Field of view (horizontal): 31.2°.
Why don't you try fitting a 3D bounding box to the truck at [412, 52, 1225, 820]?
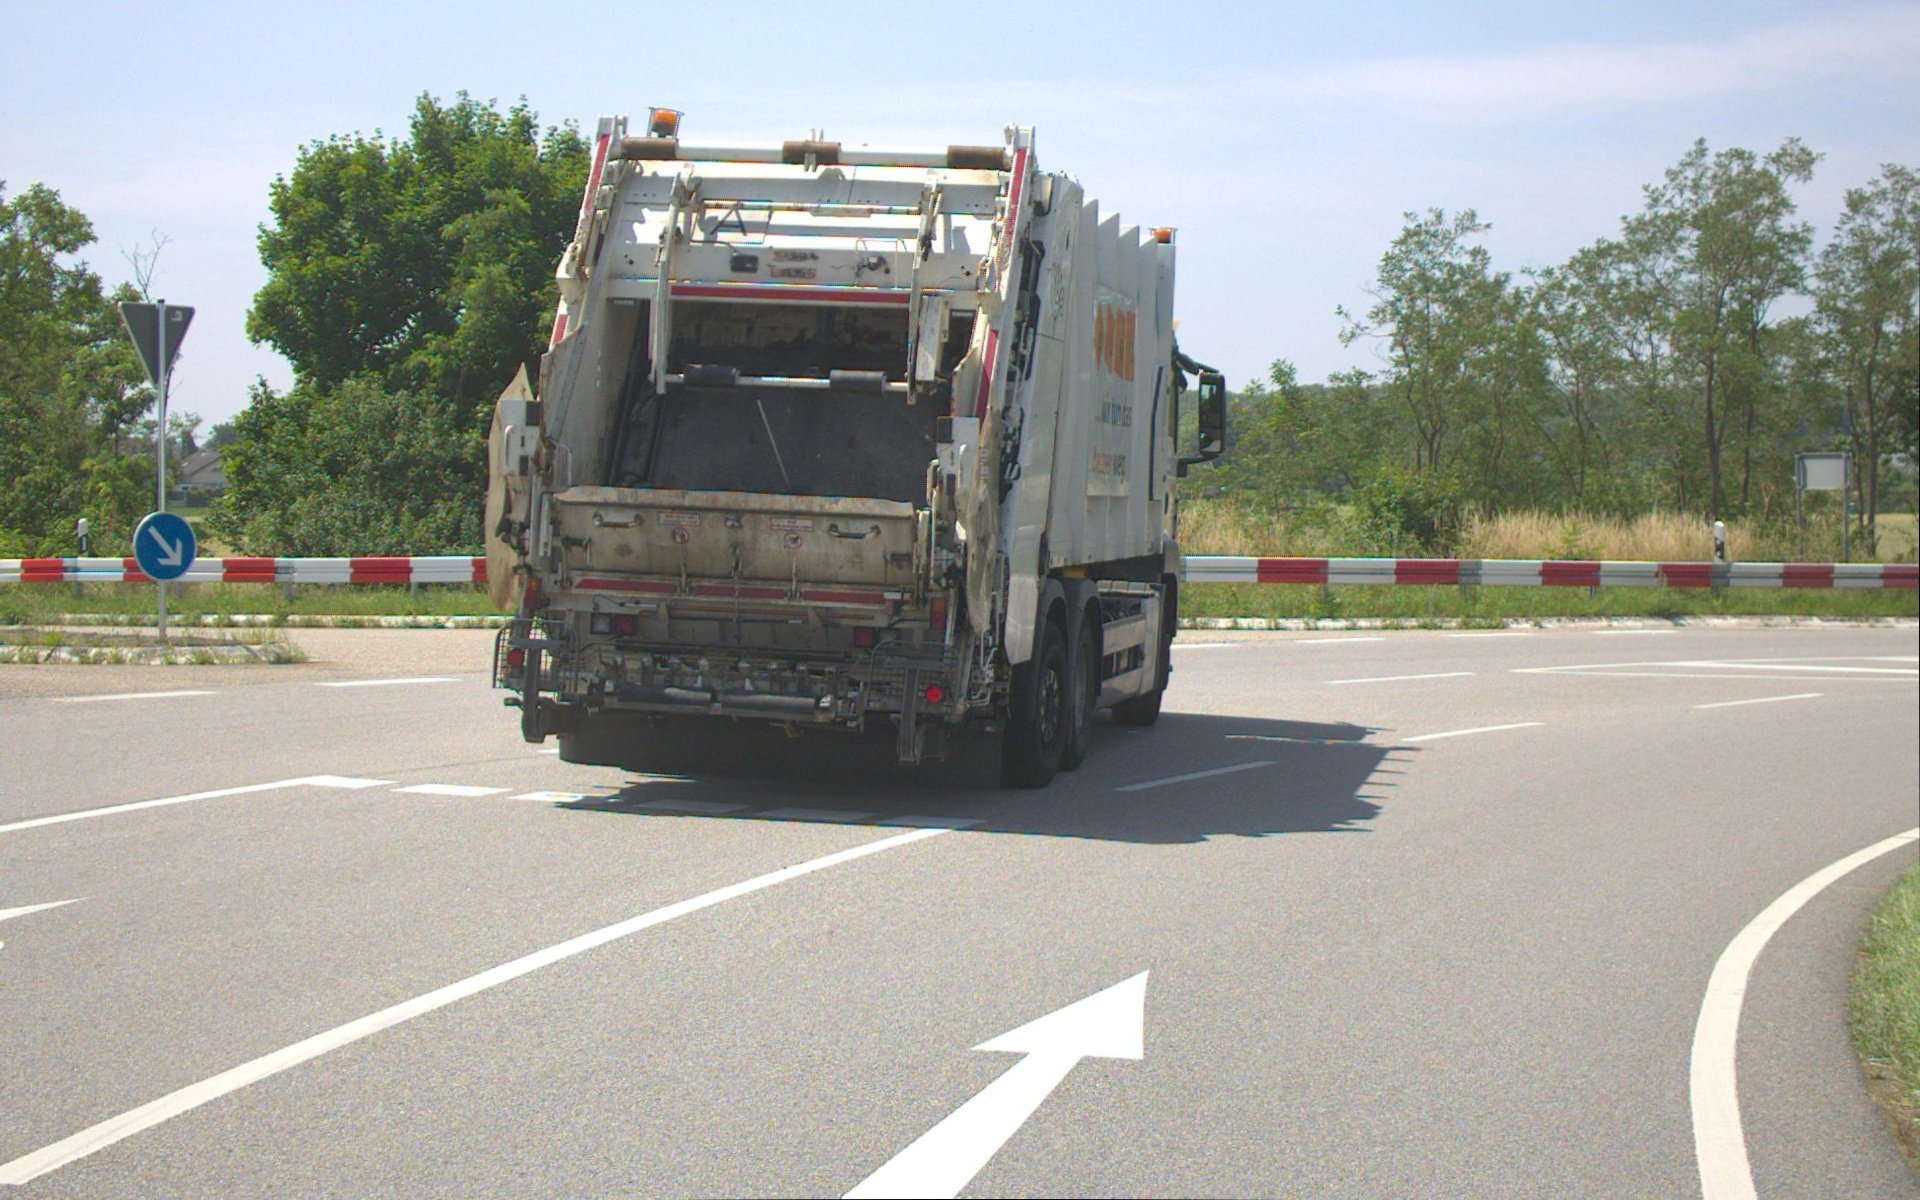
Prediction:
[{"bbox_3d":[-0.350,-0.891,21.671,2.814,3.656,9.943,2,1,11],"label":"truck"}]
